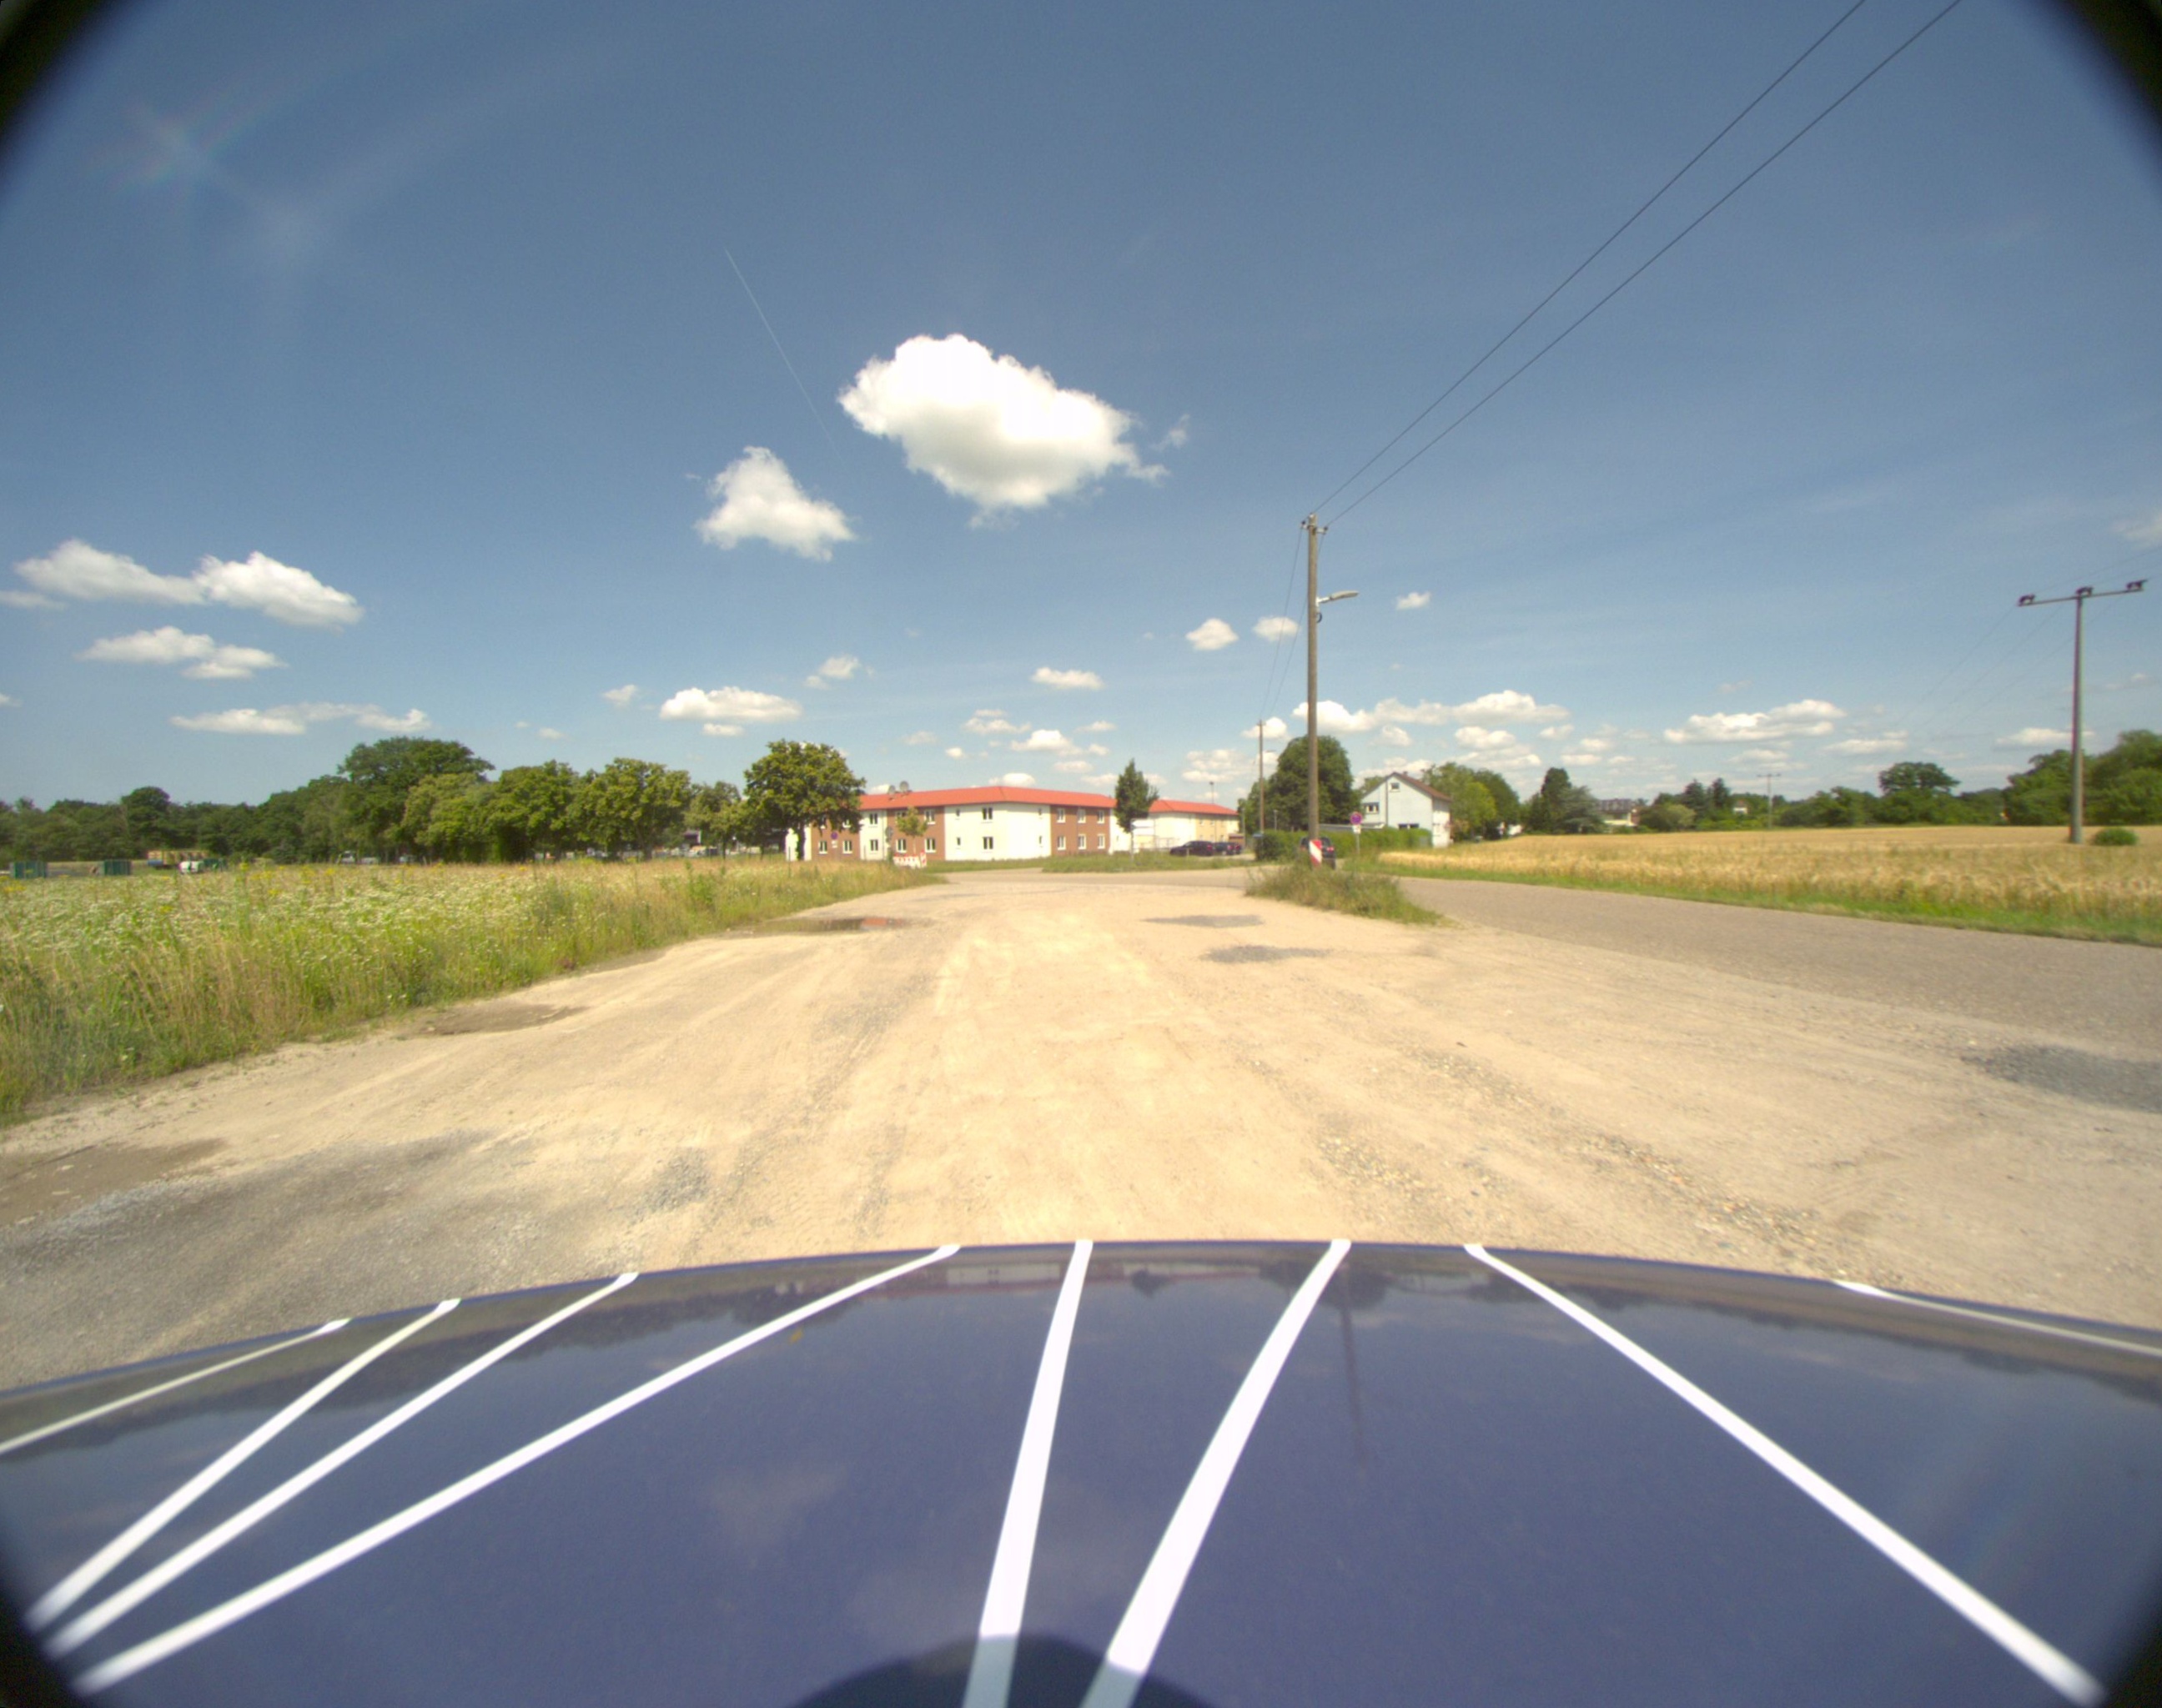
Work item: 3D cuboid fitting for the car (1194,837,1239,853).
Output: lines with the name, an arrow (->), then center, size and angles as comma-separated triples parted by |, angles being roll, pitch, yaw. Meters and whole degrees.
car -> 13.948, -0.954, 78.446 | 4.137, 1.605, 2.004 | 0, 1, 31

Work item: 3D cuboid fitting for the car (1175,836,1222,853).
car -> 11.604, -0.975, 75.259 | 4.137, 1.605, 2.004 | 0, 1, 31

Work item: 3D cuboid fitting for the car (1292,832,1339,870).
car -> 11.322, -0.175, 36.942 | 1.747, 1.670, 4.257 | -2, 2, 11
